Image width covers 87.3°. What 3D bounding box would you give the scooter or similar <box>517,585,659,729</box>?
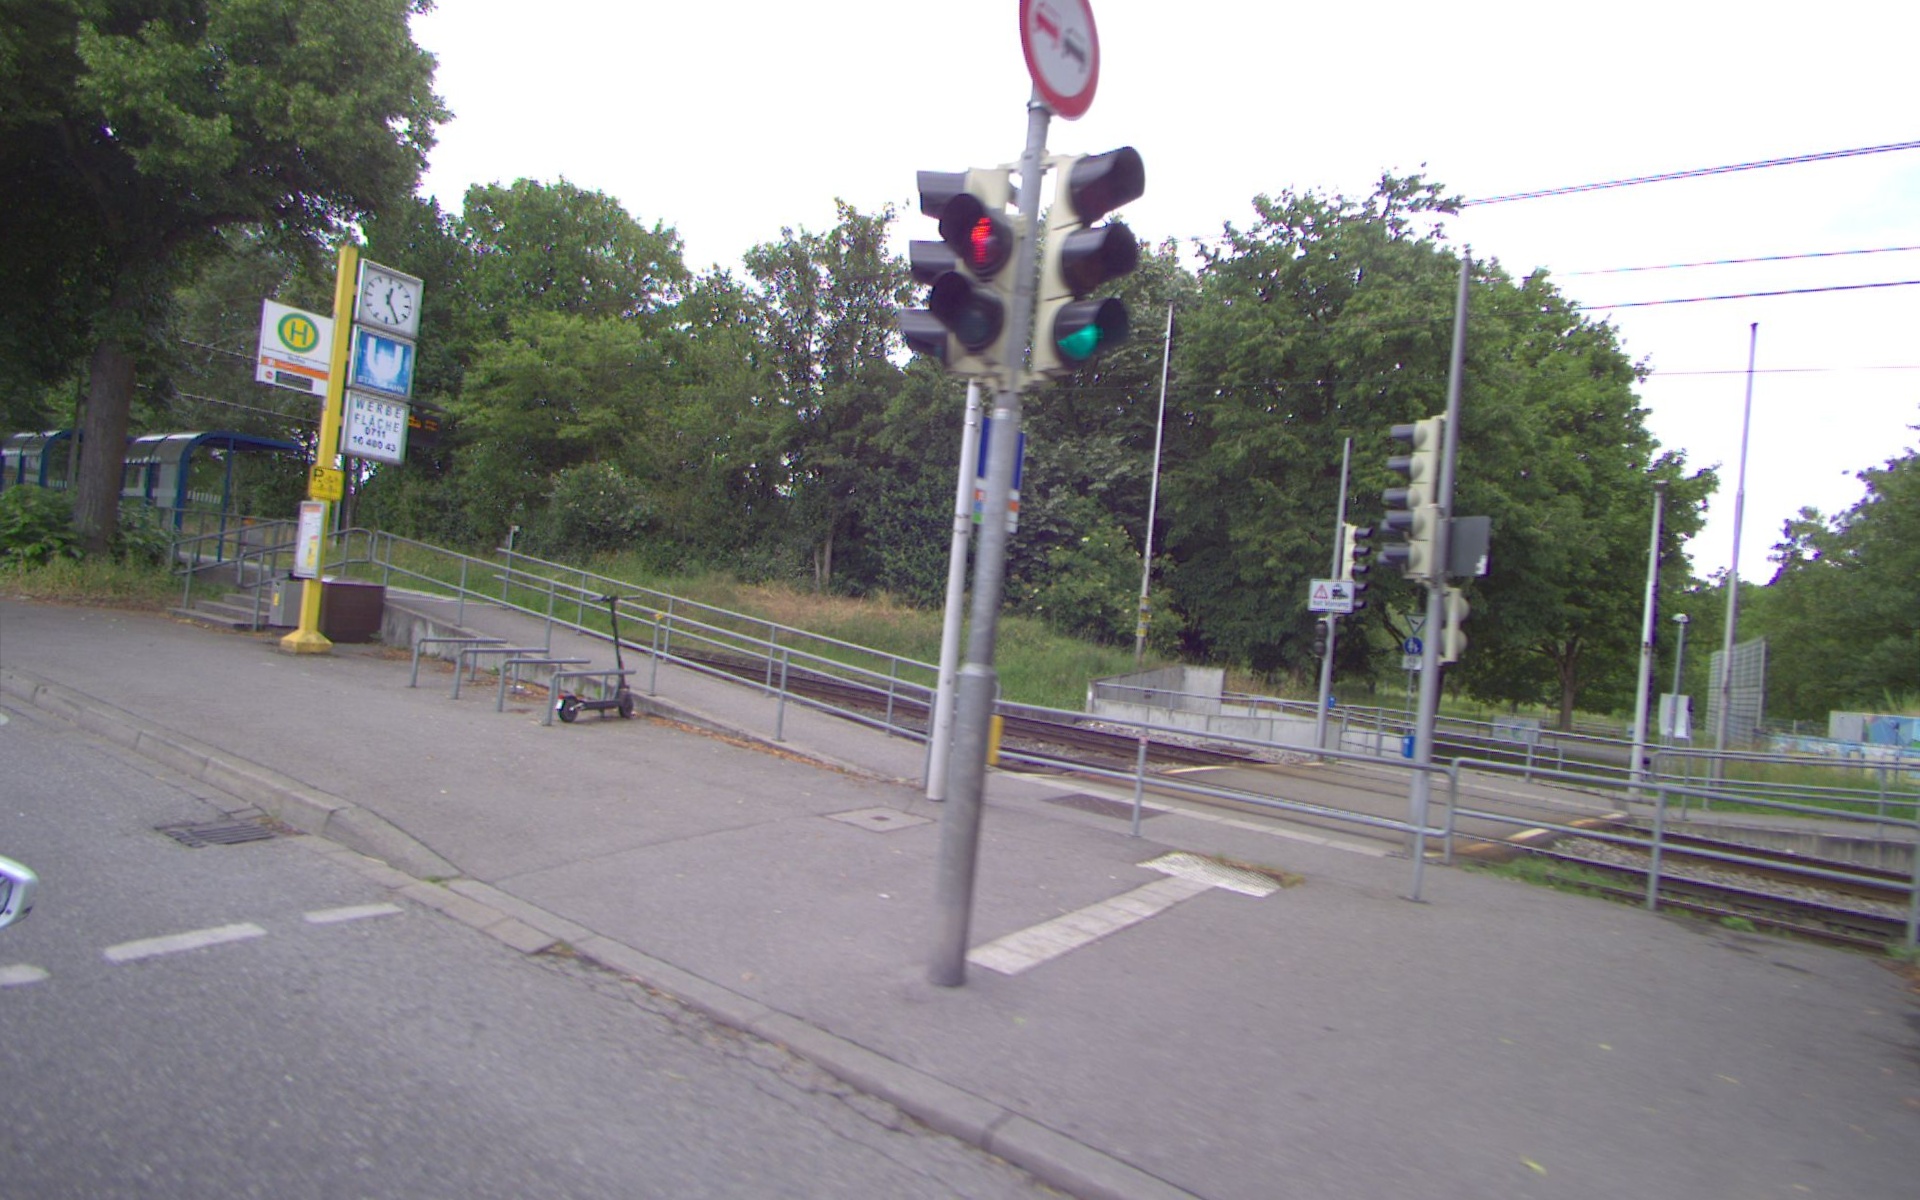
[{"bbox_3d":[-3.614,0.558,9.892,0.475,1.257,1.459,7,-1,12],"label":"scooter or similar"}]
